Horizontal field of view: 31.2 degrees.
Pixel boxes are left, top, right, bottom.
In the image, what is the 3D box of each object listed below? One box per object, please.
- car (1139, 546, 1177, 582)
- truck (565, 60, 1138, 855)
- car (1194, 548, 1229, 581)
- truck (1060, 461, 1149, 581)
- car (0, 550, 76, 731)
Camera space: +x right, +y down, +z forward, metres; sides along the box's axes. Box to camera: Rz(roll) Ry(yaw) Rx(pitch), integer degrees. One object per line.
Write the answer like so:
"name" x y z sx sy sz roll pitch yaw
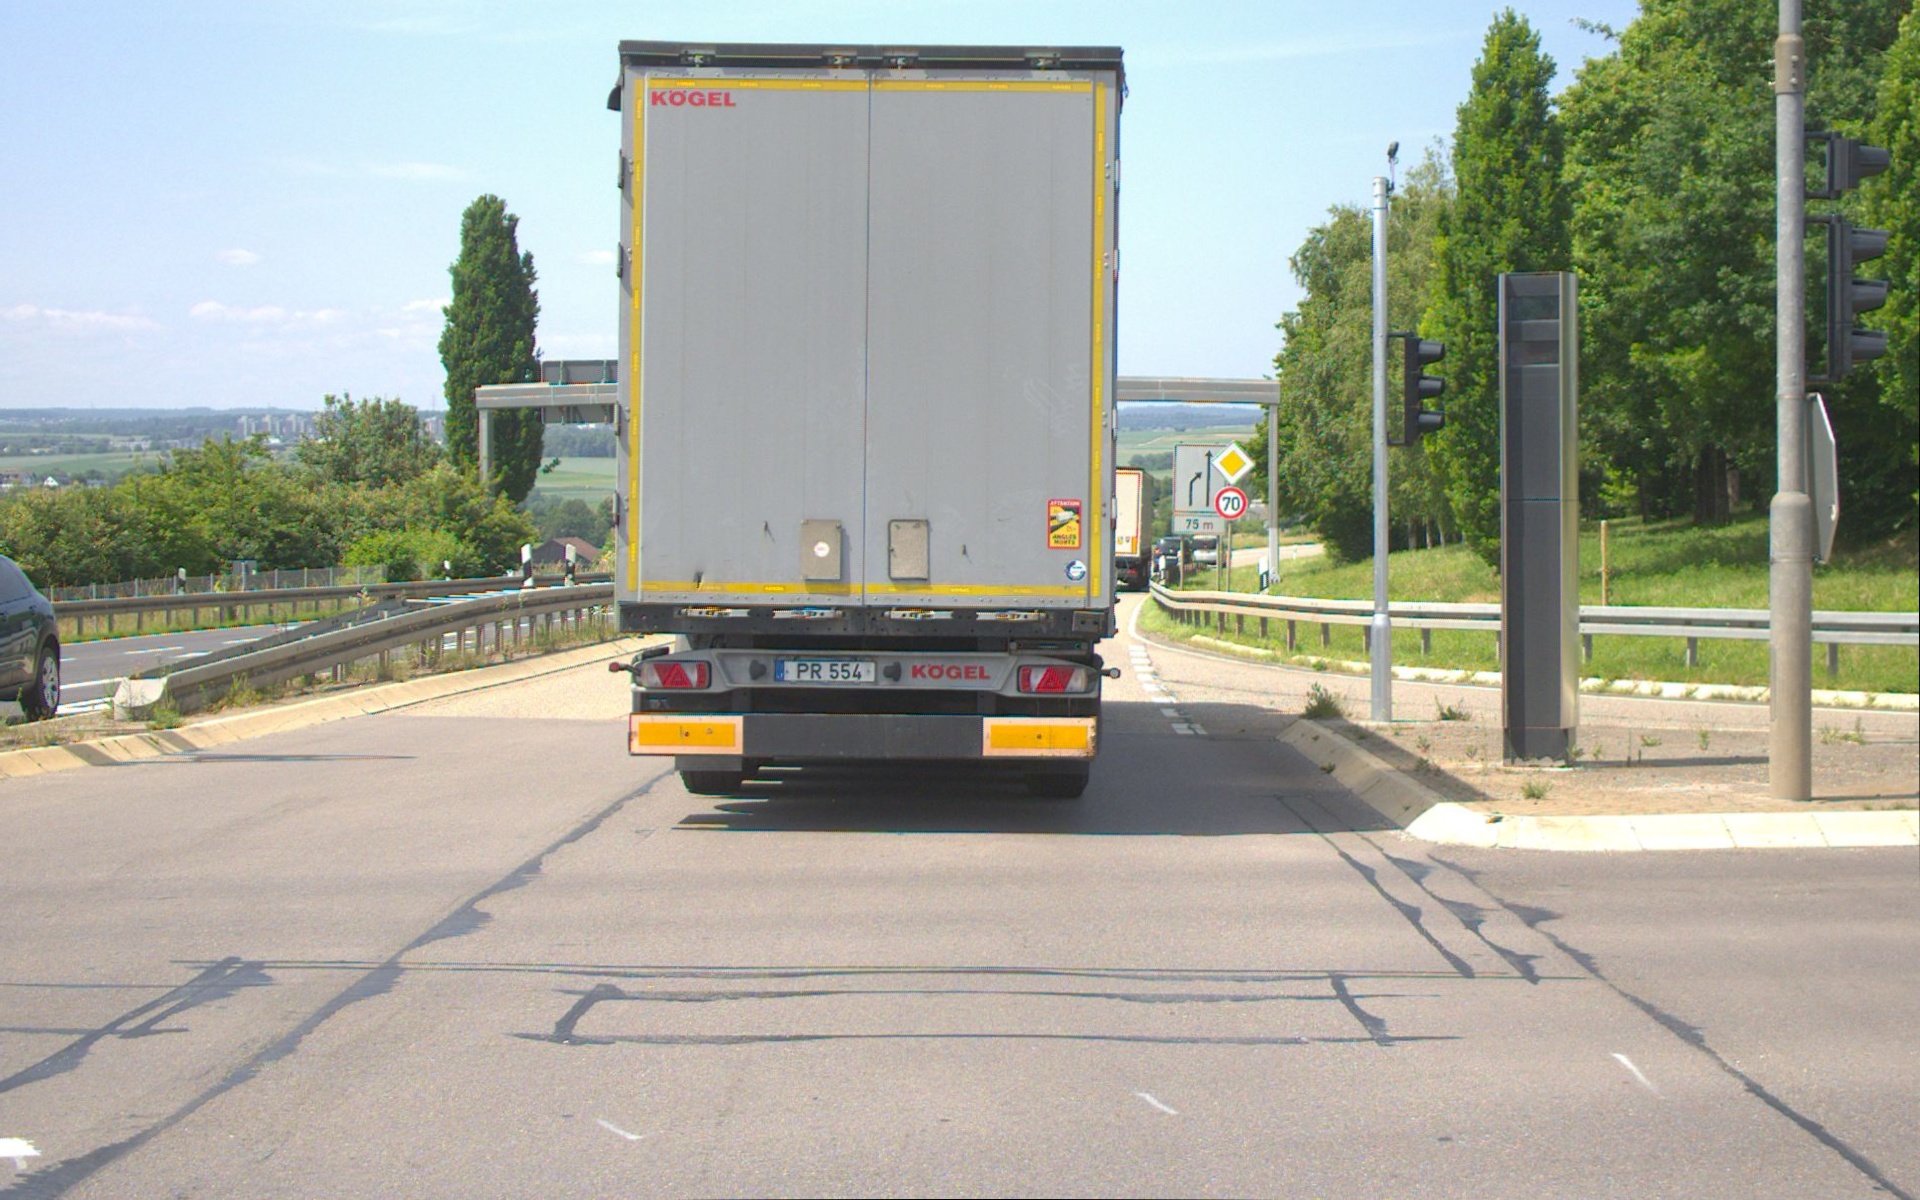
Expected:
"car" 9.659 -1.758 167.497 1.786 1.682 3.999 1 0 3
"truck" -0.774 -0.804 22.781 2.799 3.916 11.343 1 1 -2
"car" 13.618 -1.907 186.317 1.786 1.682 3.999 1 0 3
"truck" 4.895 -2.548 115.025 2.656 3.752 10.160 1 0 4
"car" -8.679 0.343 28.141 1.755 1.464 4.196 -1 1 0
